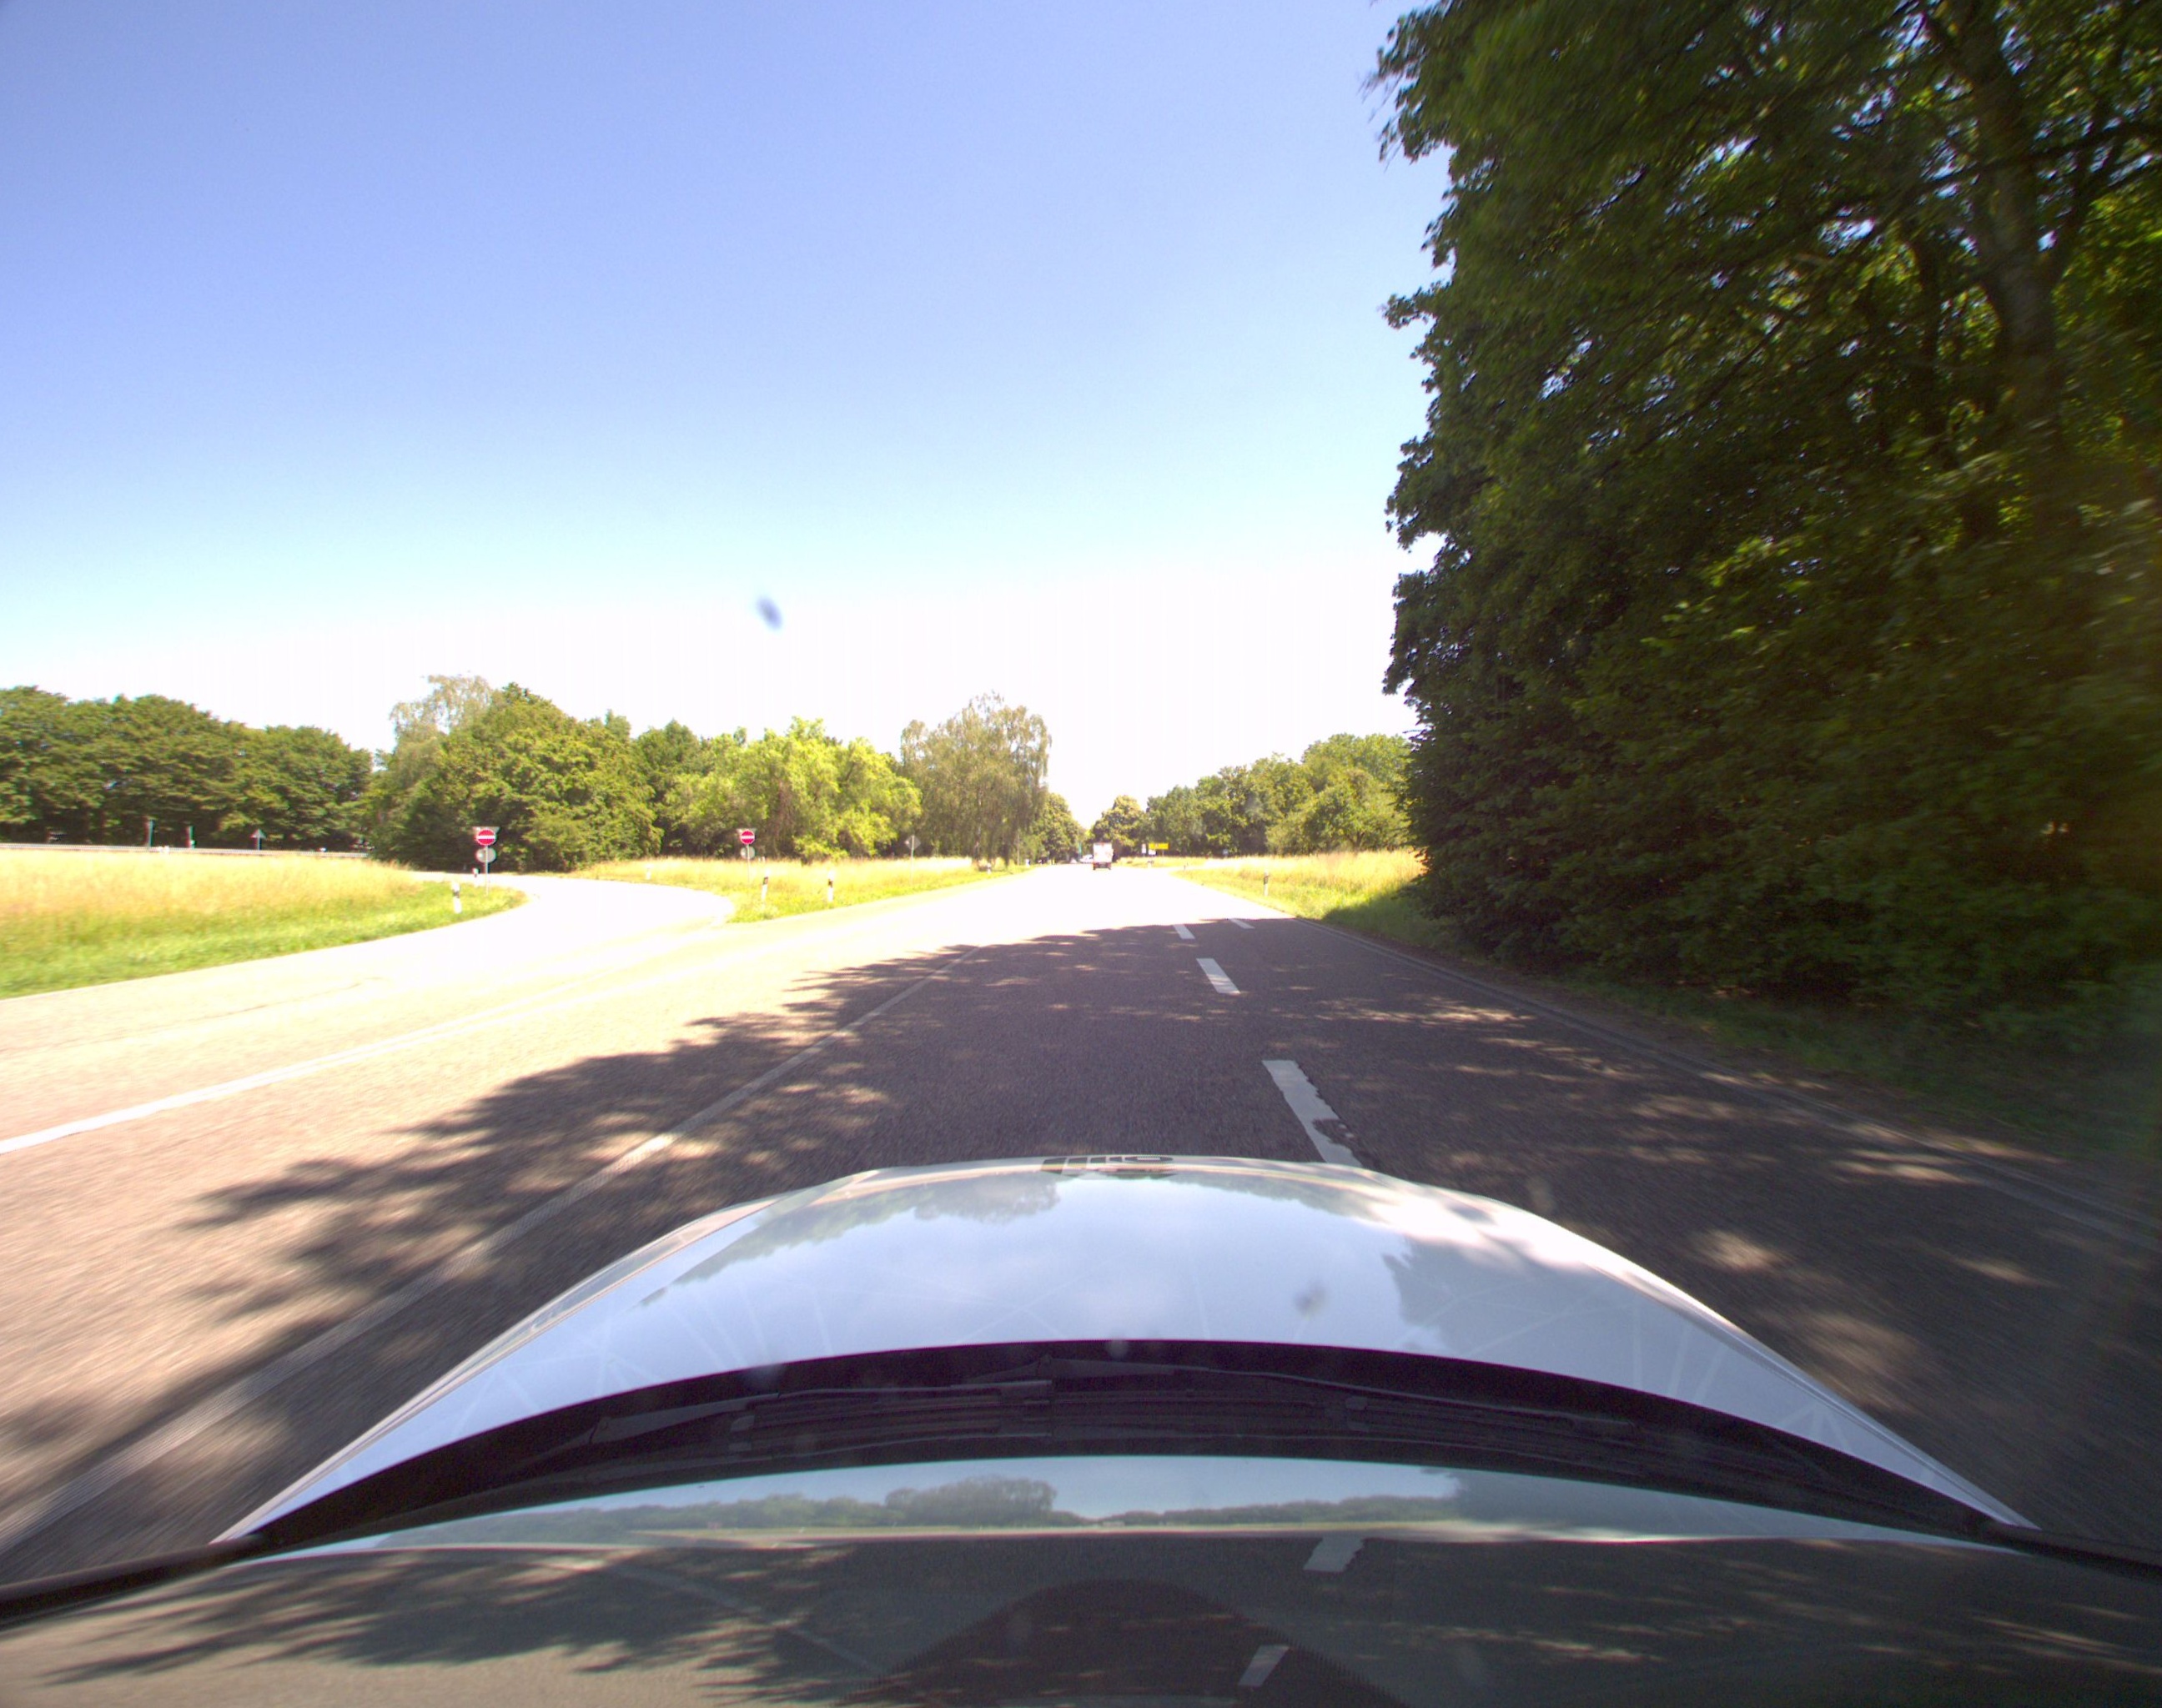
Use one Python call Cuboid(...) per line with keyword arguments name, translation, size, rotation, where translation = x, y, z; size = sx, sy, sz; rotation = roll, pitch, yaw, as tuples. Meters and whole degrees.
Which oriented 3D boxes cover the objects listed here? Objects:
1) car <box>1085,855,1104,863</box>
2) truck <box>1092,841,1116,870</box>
Cuboid(name="car", translation=(4.318, 1.502, 256.997), size=(2.053, 2.628, 6.825), rotation=(-1, -1, 40))
Cuboid(name="truck", translation=(2.654, 0.204, 91.443), size=(2.523, 3.135, 5.365), rotation=(-1, 0, 3))
